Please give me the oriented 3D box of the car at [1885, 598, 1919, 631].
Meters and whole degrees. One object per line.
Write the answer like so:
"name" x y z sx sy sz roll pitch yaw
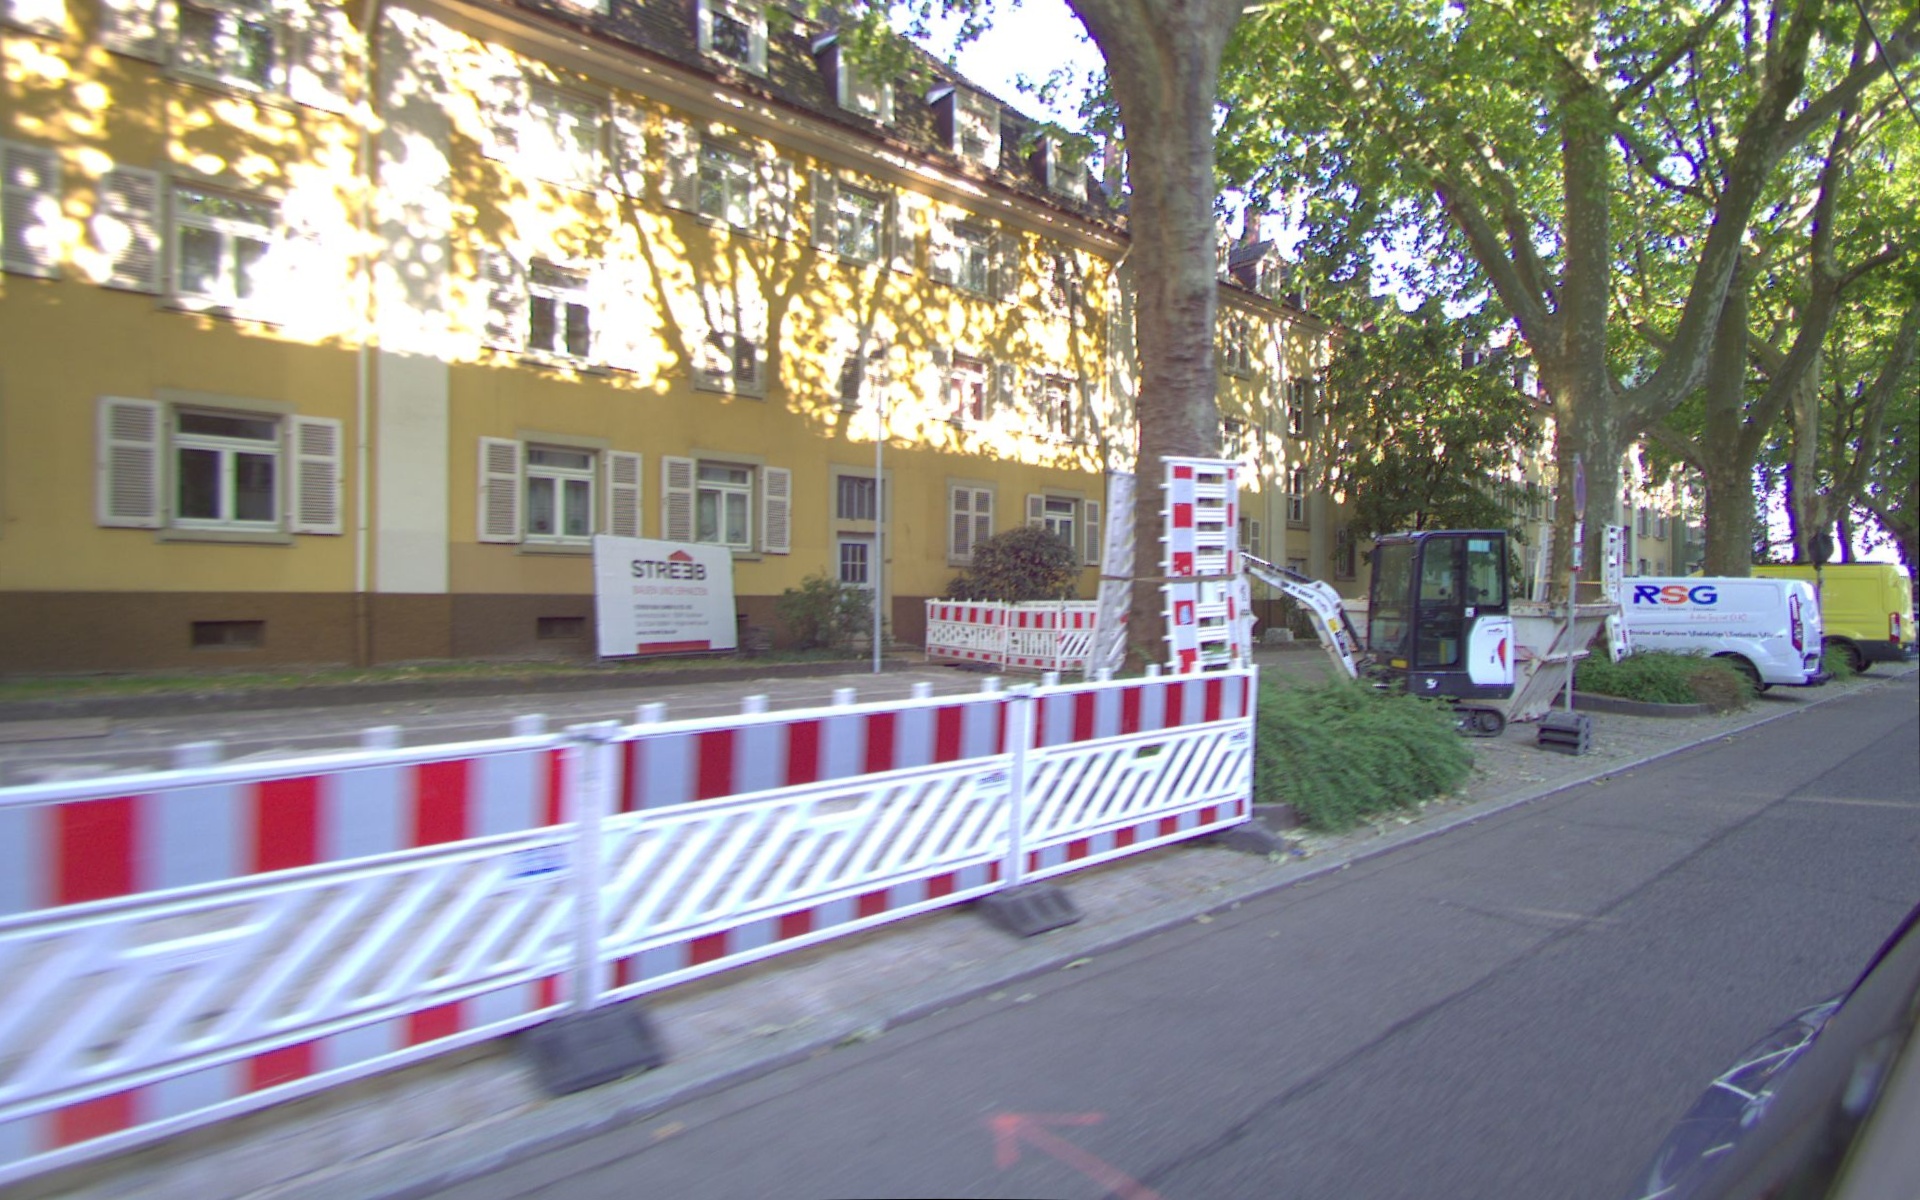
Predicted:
"car" 46.919 0.721 48.388 1.712 1.516 3.885 0 1 -43

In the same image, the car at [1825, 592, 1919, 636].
"car" 39.924 0.612 43.126 1.806 1.753 4.322 1 1 -37

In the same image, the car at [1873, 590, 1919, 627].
"car" 52.302 0.487 53.981 1.881 1.878 5.123 -1 2 -41

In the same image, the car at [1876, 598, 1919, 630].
"car" 48.753 0.721 50.433 1.785 1.542 4.409 1 1 -40

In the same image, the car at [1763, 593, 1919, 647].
"car" 29.120 0.612 33.223 1.799 1.569 4.084 0 2 -41

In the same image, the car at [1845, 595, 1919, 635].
"car" 41.882 0.668 44.359 1.875 1.678 4.432 0 2 -42

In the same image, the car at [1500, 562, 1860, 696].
"car" 12.475 0.409 17.826 2.027 2.038 4.843 1 0 -41

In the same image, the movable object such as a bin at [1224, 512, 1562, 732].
"movable object such as a bin" 4.832 0.226 11.510 3.210 2.298 1.488 0 0 -7

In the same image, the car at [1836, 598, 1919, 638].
"car" 37.874 0.728 40.739 1.832 1.441 3.661 1 2 -39

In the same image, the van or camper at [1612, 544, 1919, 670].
"van or camper" 19.418 0.090 24.313 2.229 2.662 5.940 -1 1 -38
